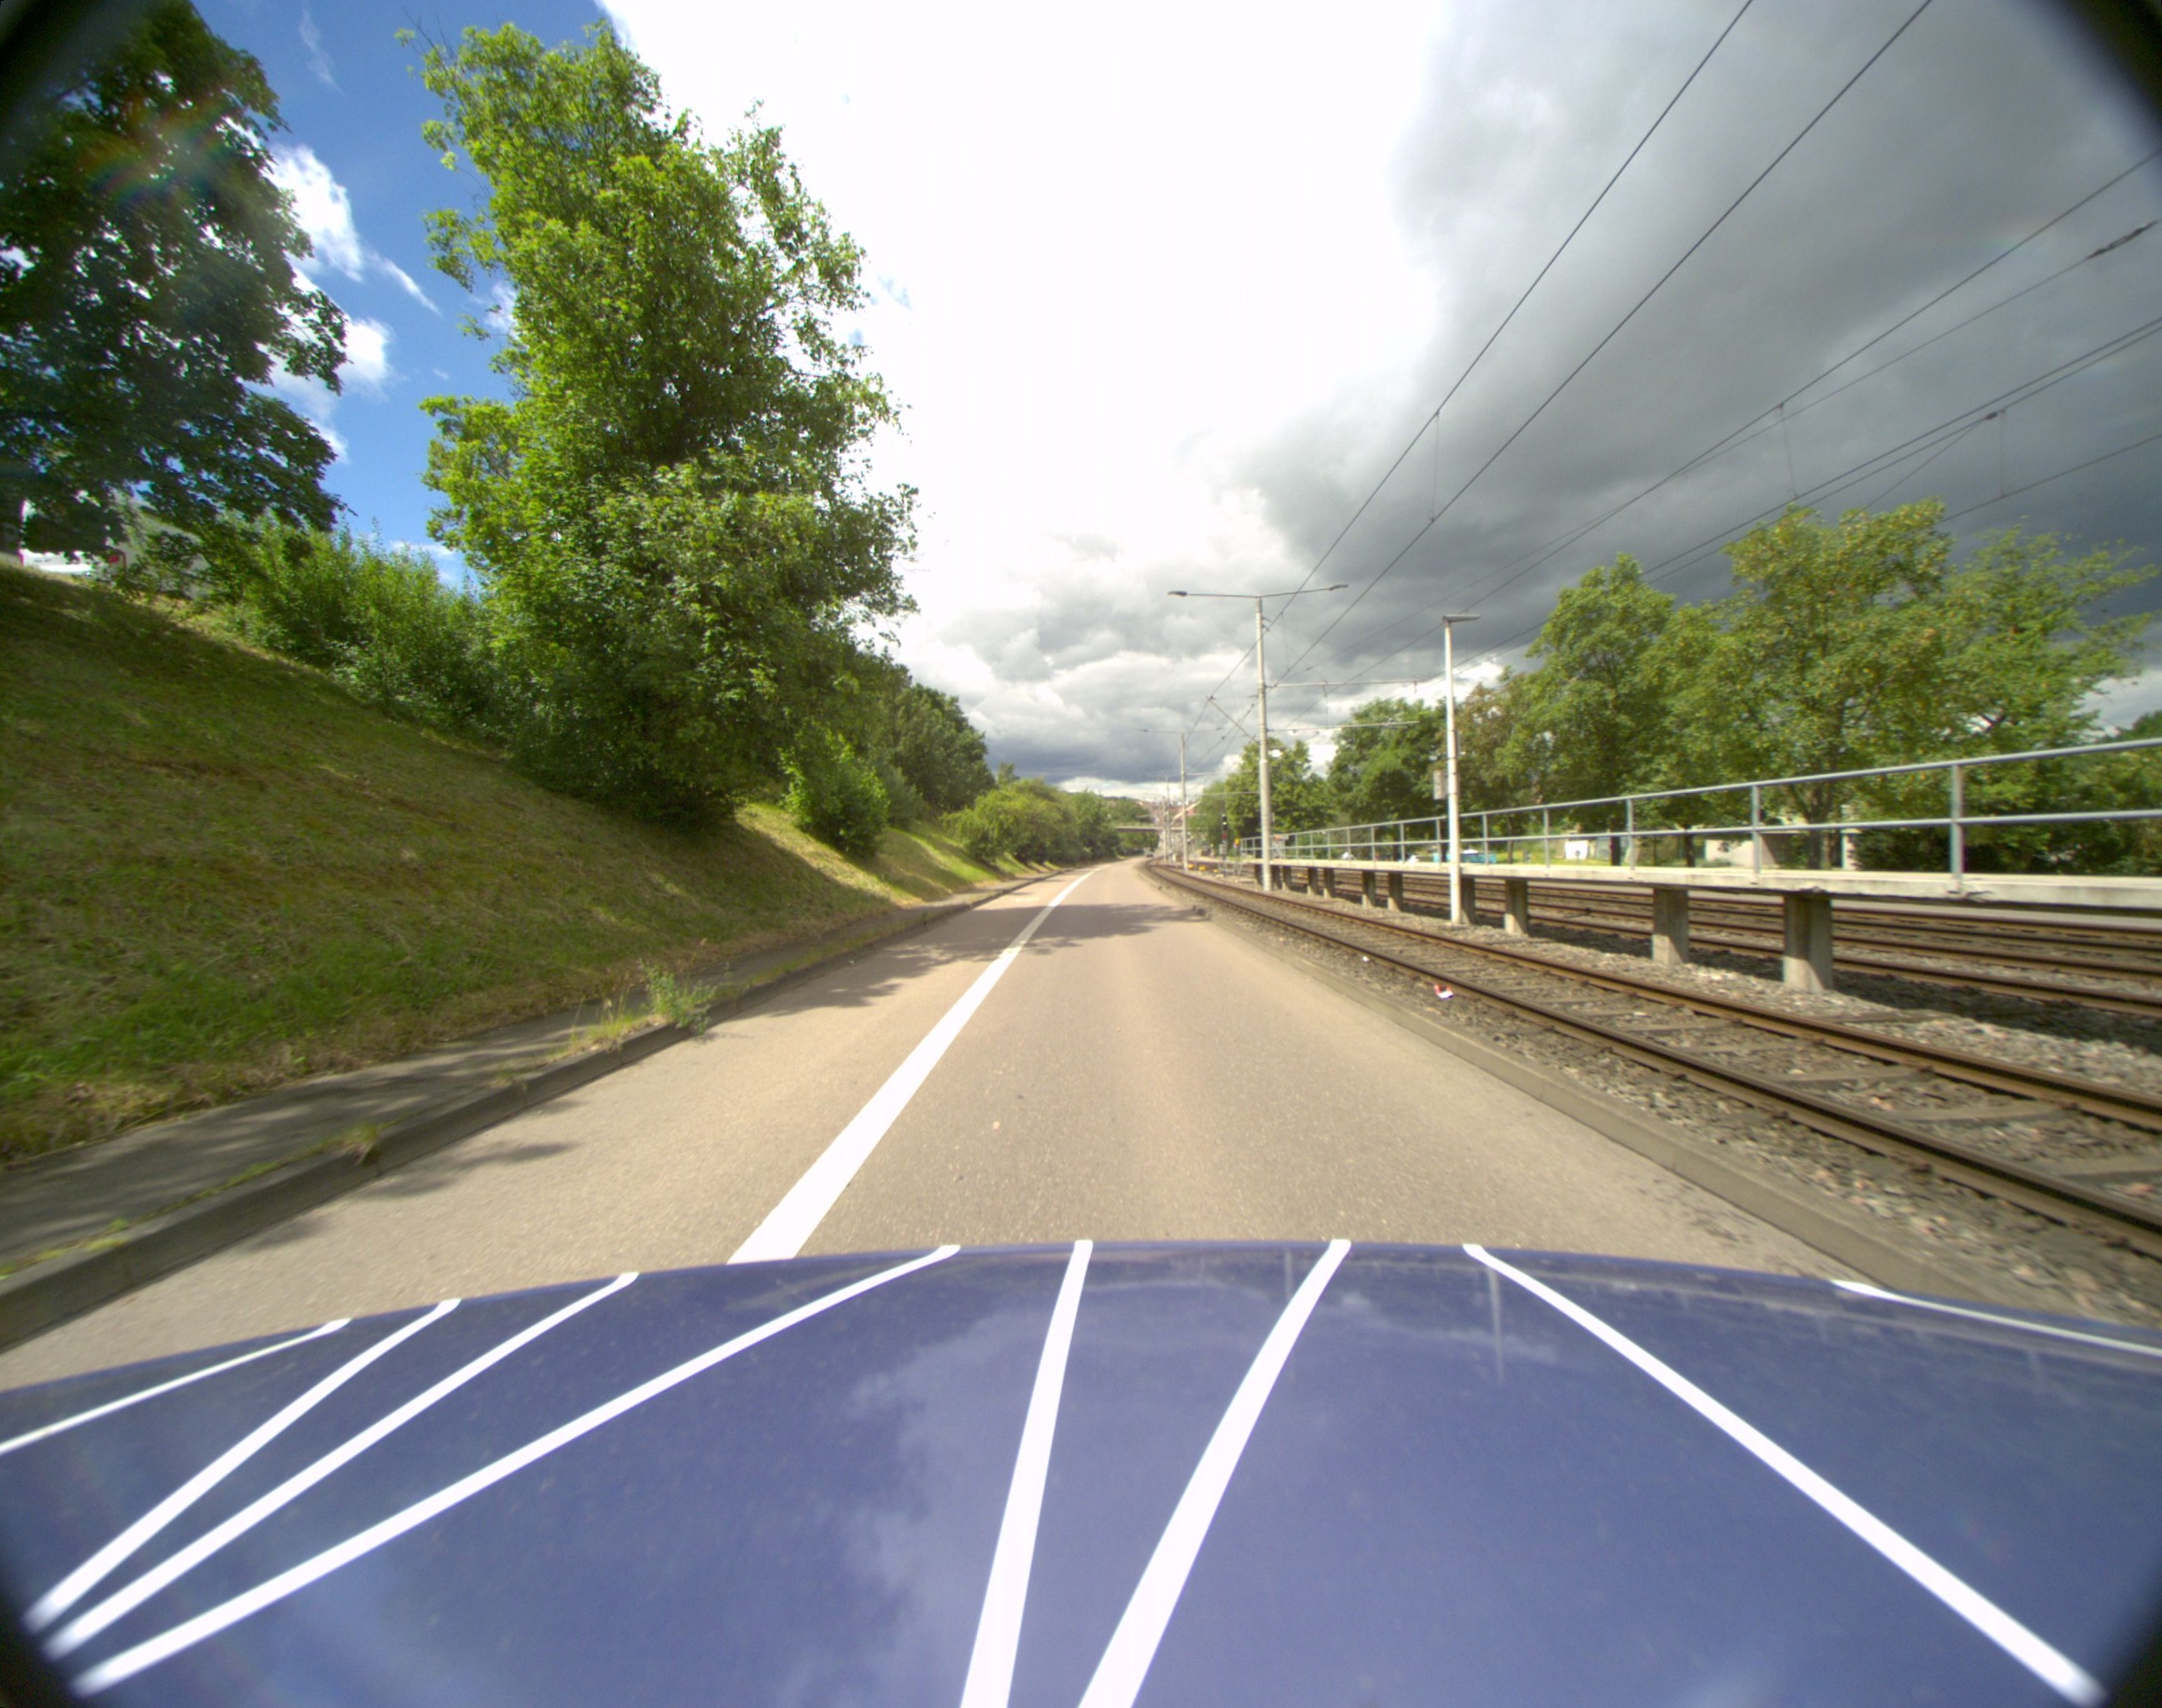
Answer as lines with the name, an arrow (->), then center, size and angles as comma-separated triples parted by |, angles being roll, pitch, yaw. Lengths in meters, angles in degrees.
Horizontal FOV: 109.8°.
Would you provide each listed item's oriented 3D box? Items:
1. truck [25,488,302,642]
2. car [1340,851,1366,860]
truck -> -20.124, -6.259, 16.968 | 1.388, 1.930, 3.966 | -2, 1, -3
car -> 46.326, 0.300, 129.610 | 3.867, 1.526, 1.628 | 0, 1, 4
